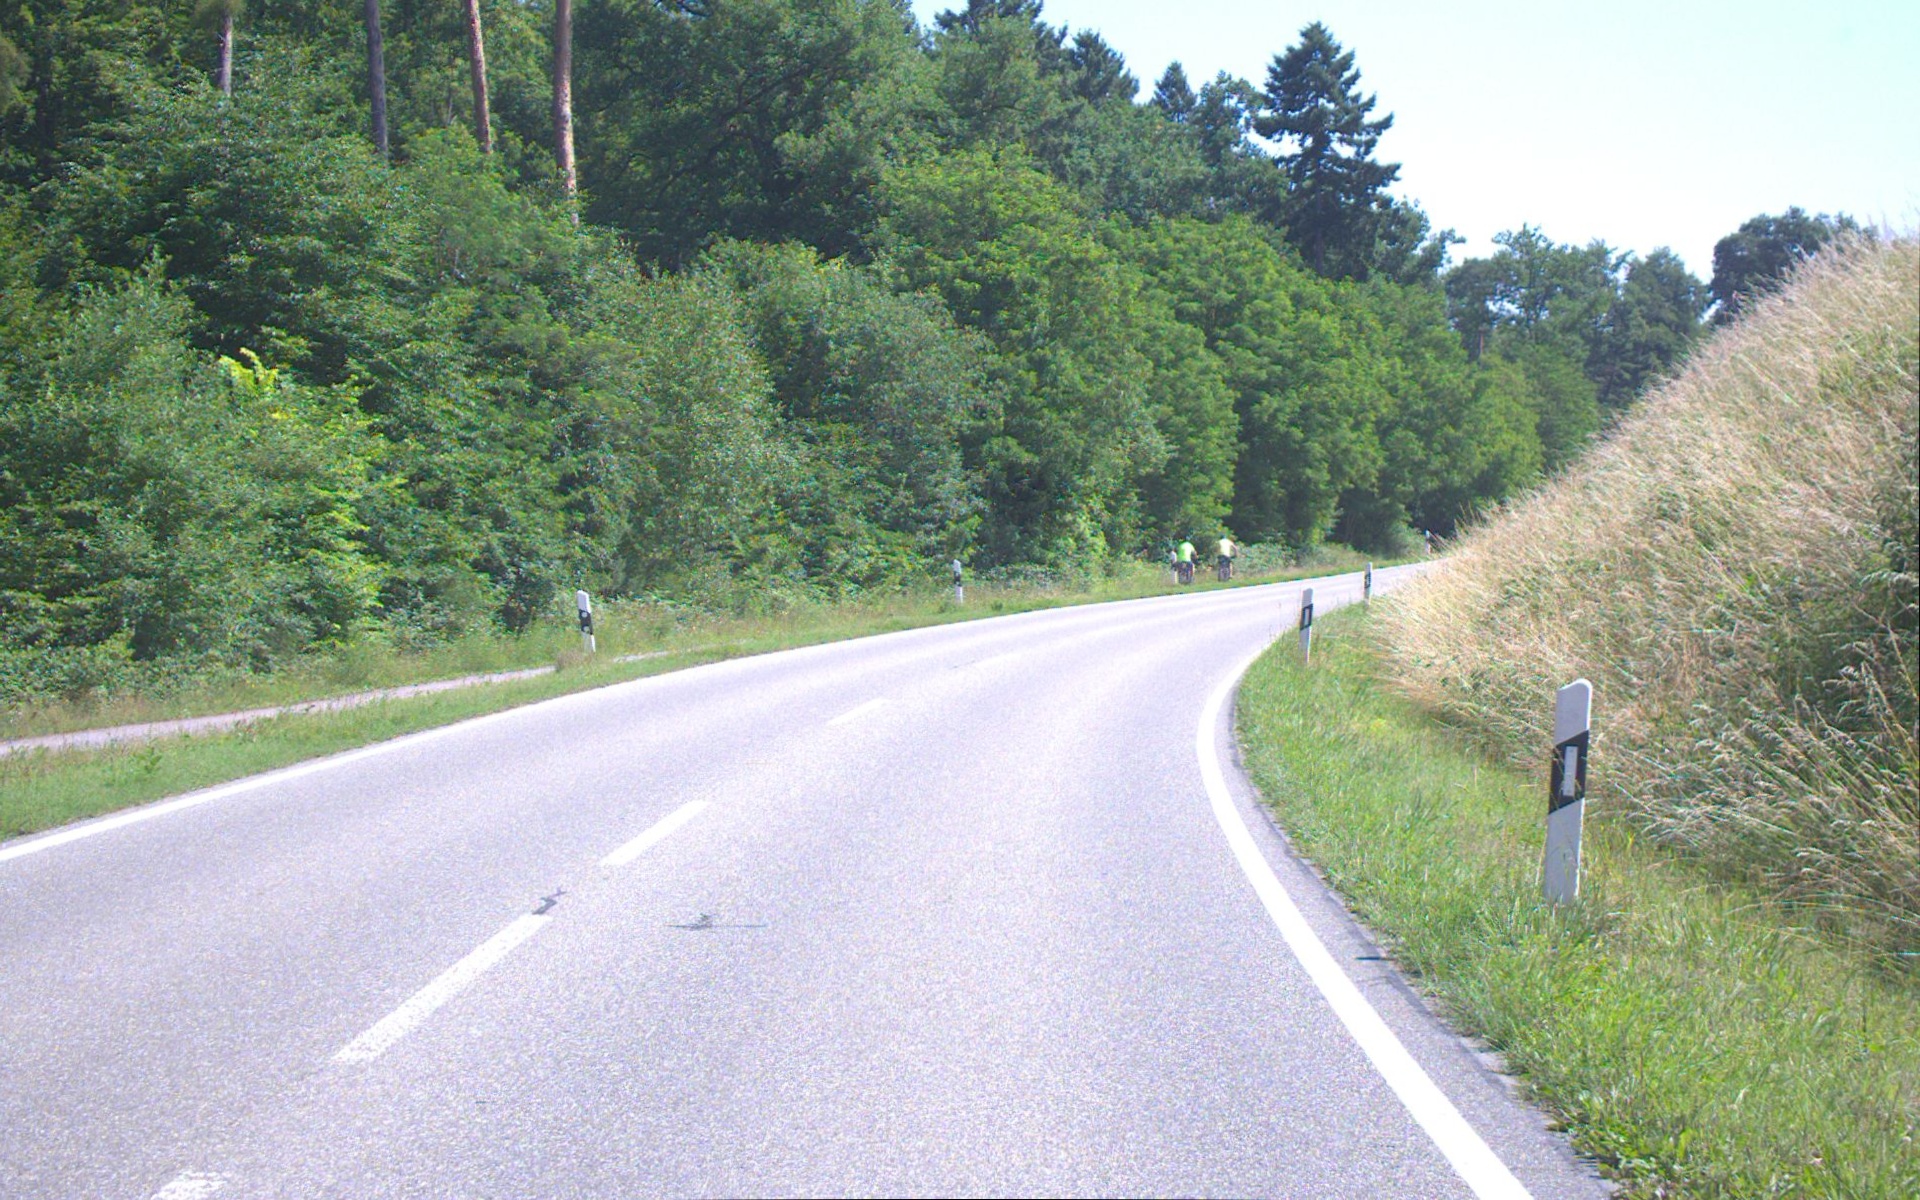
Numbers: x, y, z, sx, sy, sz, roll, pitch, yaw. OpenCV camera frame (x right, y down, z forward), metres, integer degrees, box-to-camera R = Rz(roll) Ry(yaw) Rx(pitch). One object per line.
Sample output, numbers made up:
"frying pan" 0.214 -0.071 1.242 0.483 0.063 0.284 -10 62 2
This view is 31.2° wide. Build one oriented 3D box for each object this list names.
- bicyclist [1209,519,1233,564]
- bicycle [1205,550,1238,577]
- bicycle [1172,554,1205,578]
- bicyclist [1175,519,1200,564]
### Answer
"bicyclist" 8.215 -1.840 108.124 0.605 1.410 0.702 -1 1 15
"bicycle" 8.225 -1.155 108.059 0.640 0.785 2.135 -2 1 15
"bicycle" 7.233 -1.079 108.905 0.619 0.679 2.135 -2 1 15
"bicyclist" 7.207 -1.851 108.912 0.605 1.410 0.702 -2 1 15
